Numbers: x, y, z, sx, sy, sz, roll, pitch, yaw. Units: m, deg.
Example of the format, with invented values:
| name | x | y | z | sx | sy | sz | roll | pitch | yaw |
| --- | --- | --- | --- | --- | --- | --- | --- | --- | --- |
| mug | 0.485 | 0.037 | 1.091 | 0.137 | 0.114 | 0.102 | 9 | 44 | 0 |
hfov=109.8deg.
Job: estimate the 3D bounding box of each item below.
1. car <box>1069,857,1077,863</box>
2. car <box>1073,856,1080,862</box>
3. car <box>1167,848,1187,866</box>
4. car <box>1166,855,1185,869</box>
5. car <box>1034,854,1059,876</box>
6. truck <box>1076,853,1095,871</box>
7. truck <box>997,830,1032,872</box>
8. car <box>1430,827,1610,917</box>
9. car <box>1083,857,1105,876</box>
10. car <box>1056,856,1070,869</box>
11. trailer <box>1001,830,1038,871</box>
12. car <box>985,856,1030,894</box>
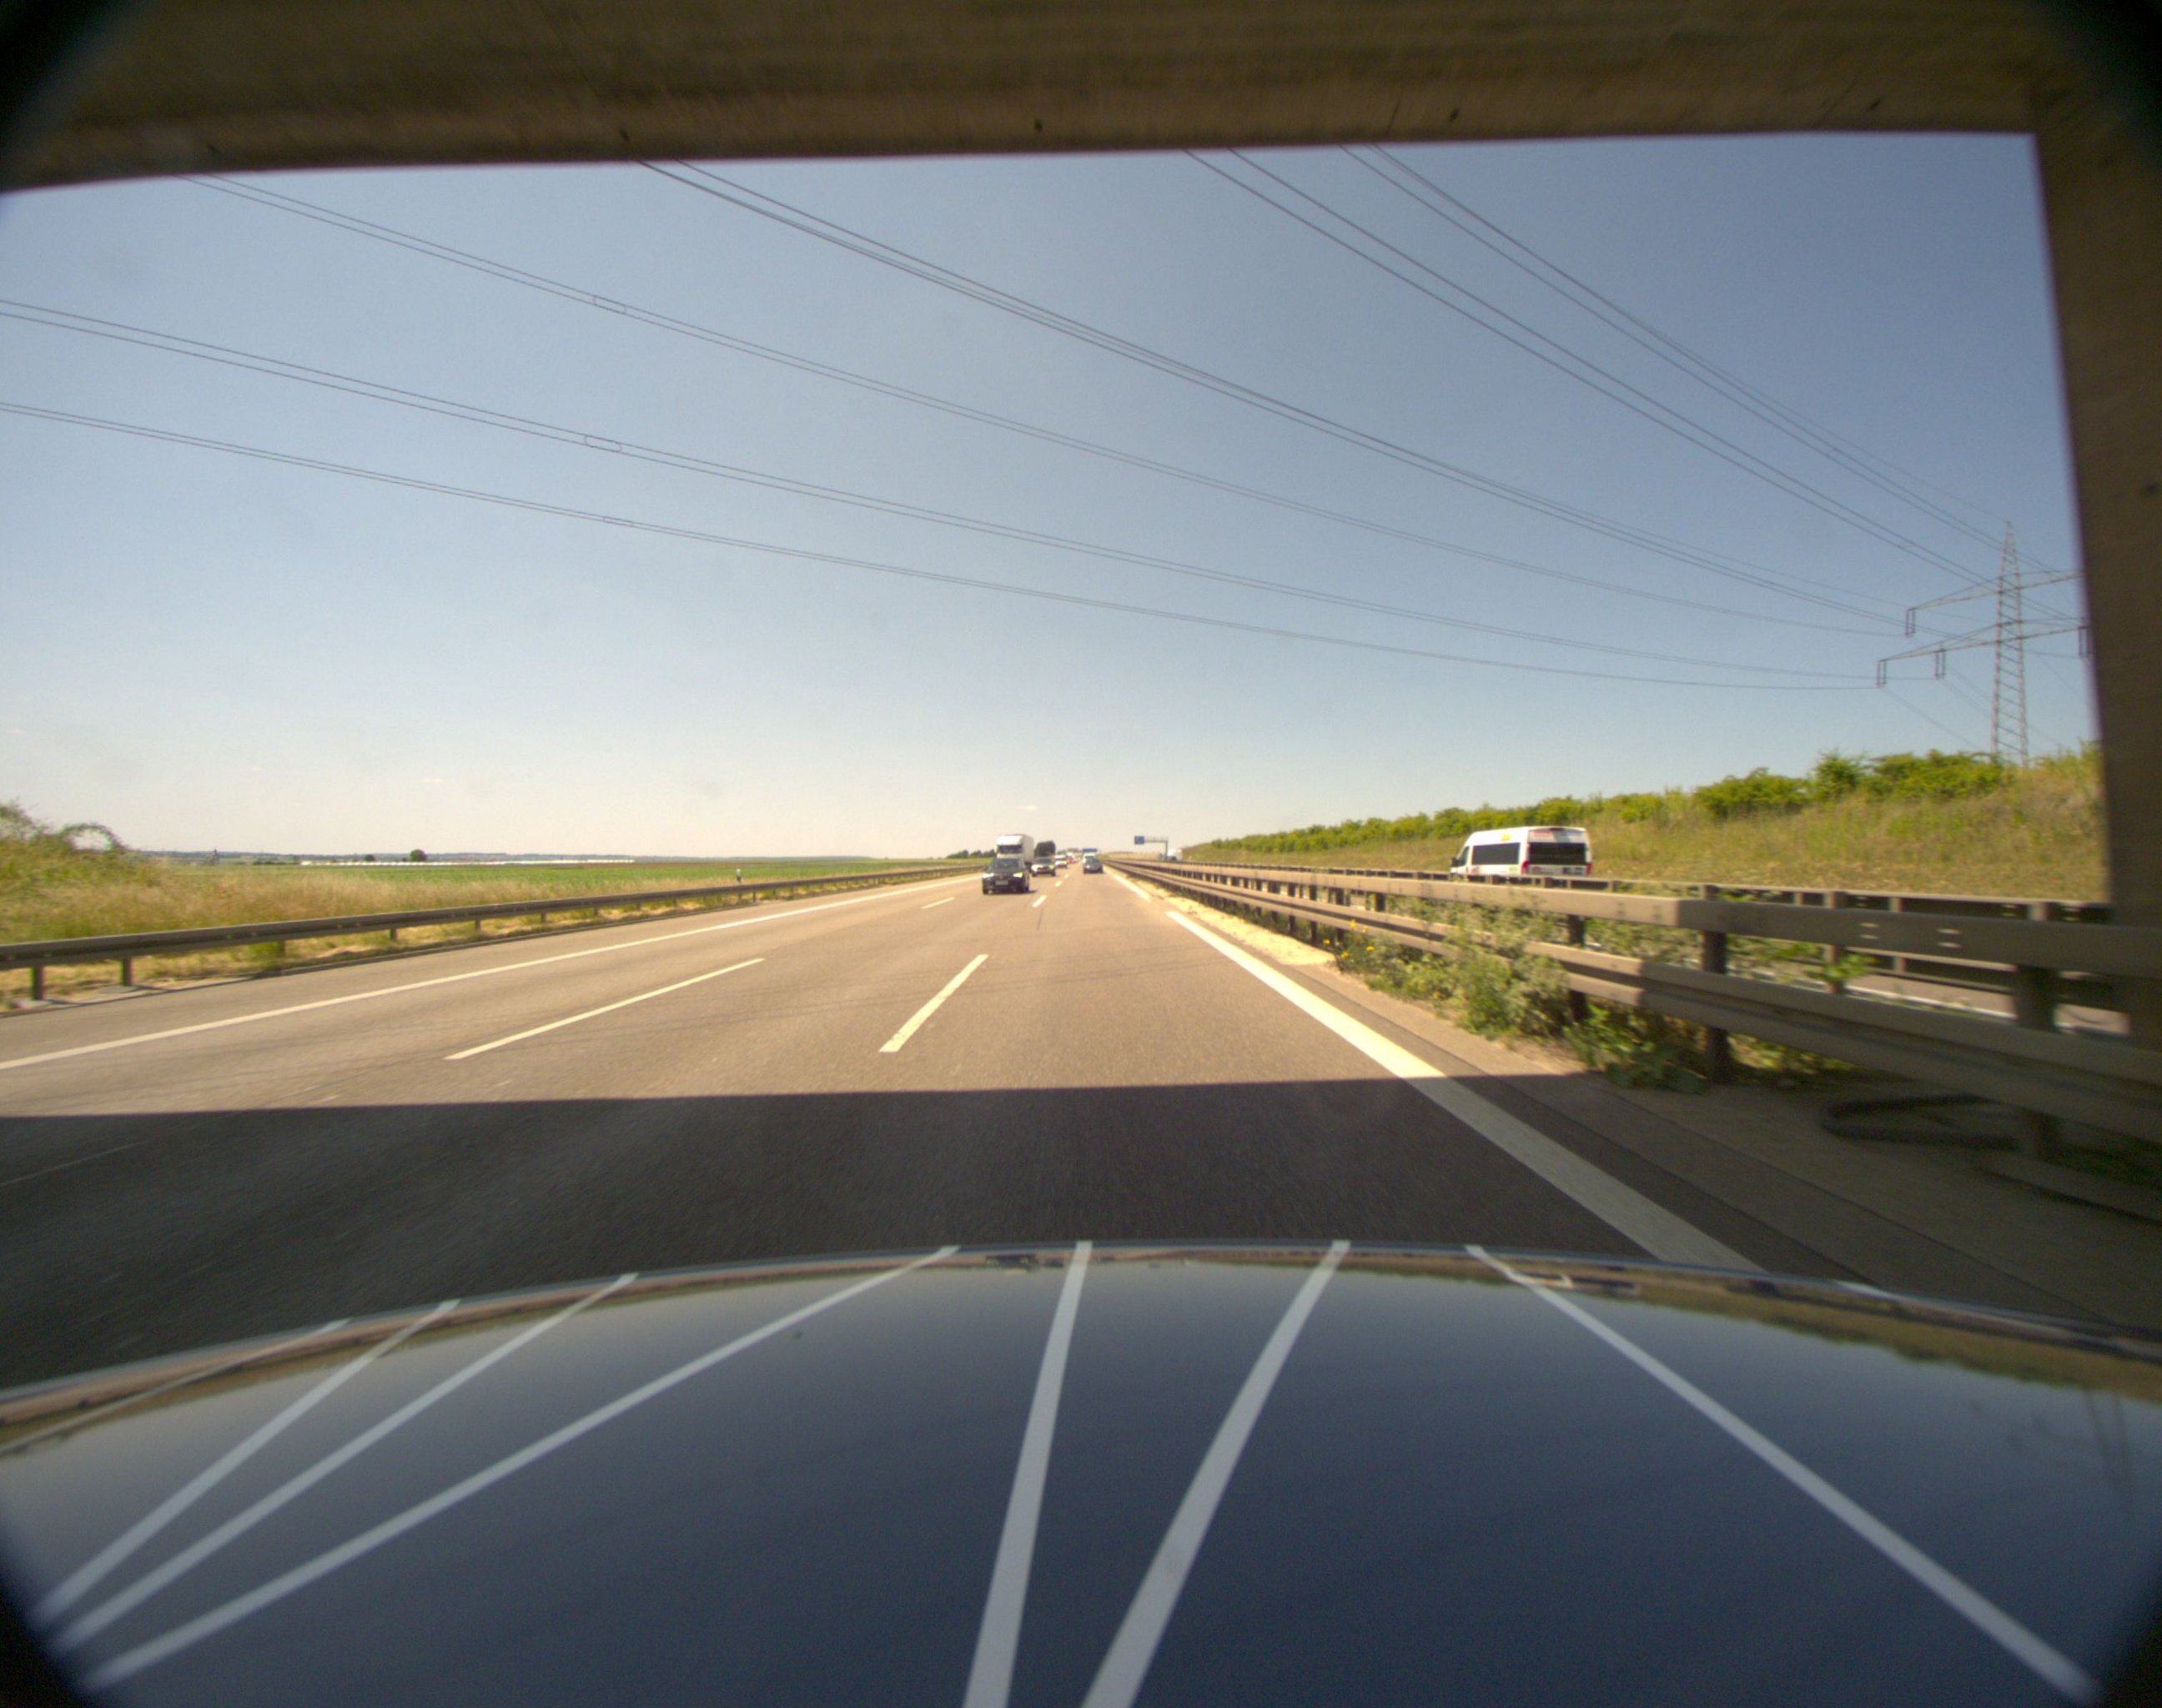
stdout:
| name | x | y | z | sx | sy | sz | roll | pitch | yaw |
| --- | --- | --- | --- | --- | --- | --- | --- | --- | --- |
| car | -1.912 | 1.416 | 180.203 | 1.723 | 1.513 | 3.582 | -2 | 0 | 2 |
| car | -1.086 | 1.320 | 204.683 | 1.724 | 1.513 | 3.581 | -2 | 0 | -2 |
| car | 14.764 | 0.443 | 117.249 | 2.037 | 2.590 | 7.600 | -2 | 0 | 1 |
| car | 11.185 | 0.927 | 90.026 | 1.843 | 1.591 | 4.000 | -1 | 0 | 1 |
| car | -2.845 | 0.963 | 63.223 | 1.856 | 1.638 | 4.646 | -3 | -2 | -1 |
| truck | 0.652 | 1.146 | 109.335 | 2.334 | 2.378 | 6.686 | -2 | 0 | -2 |
| truck | -6.773 | -0.270 | 78.473 | 2.870 | 4.067 | 6.879 | -2 | 0 | 0 |
| car | 13.933 | 0.502 | 24.752 | 2.205 | 2.494 | 6.330 | -2 | 0 | 1 |
| car | 1.100 | 1.065 | 66.066 | 1.715 | 1.586 | 4.546 | 1 | -1 | -2 |
| car | -2.497 | 1.176 | 105.968 | 1.812 | 1.836 | 5.311 | -1 | -1 | -2 |
| trailer | -6.772 | -0.374 | 85.811 | 2.875 | 4.195 | 13.294 | -2 | 0 | 0 |
| car | -3.278 | 0.903 | 34.419 | 1.802 | 1.553 | 3.822 | -2 | 0 | -3 |
